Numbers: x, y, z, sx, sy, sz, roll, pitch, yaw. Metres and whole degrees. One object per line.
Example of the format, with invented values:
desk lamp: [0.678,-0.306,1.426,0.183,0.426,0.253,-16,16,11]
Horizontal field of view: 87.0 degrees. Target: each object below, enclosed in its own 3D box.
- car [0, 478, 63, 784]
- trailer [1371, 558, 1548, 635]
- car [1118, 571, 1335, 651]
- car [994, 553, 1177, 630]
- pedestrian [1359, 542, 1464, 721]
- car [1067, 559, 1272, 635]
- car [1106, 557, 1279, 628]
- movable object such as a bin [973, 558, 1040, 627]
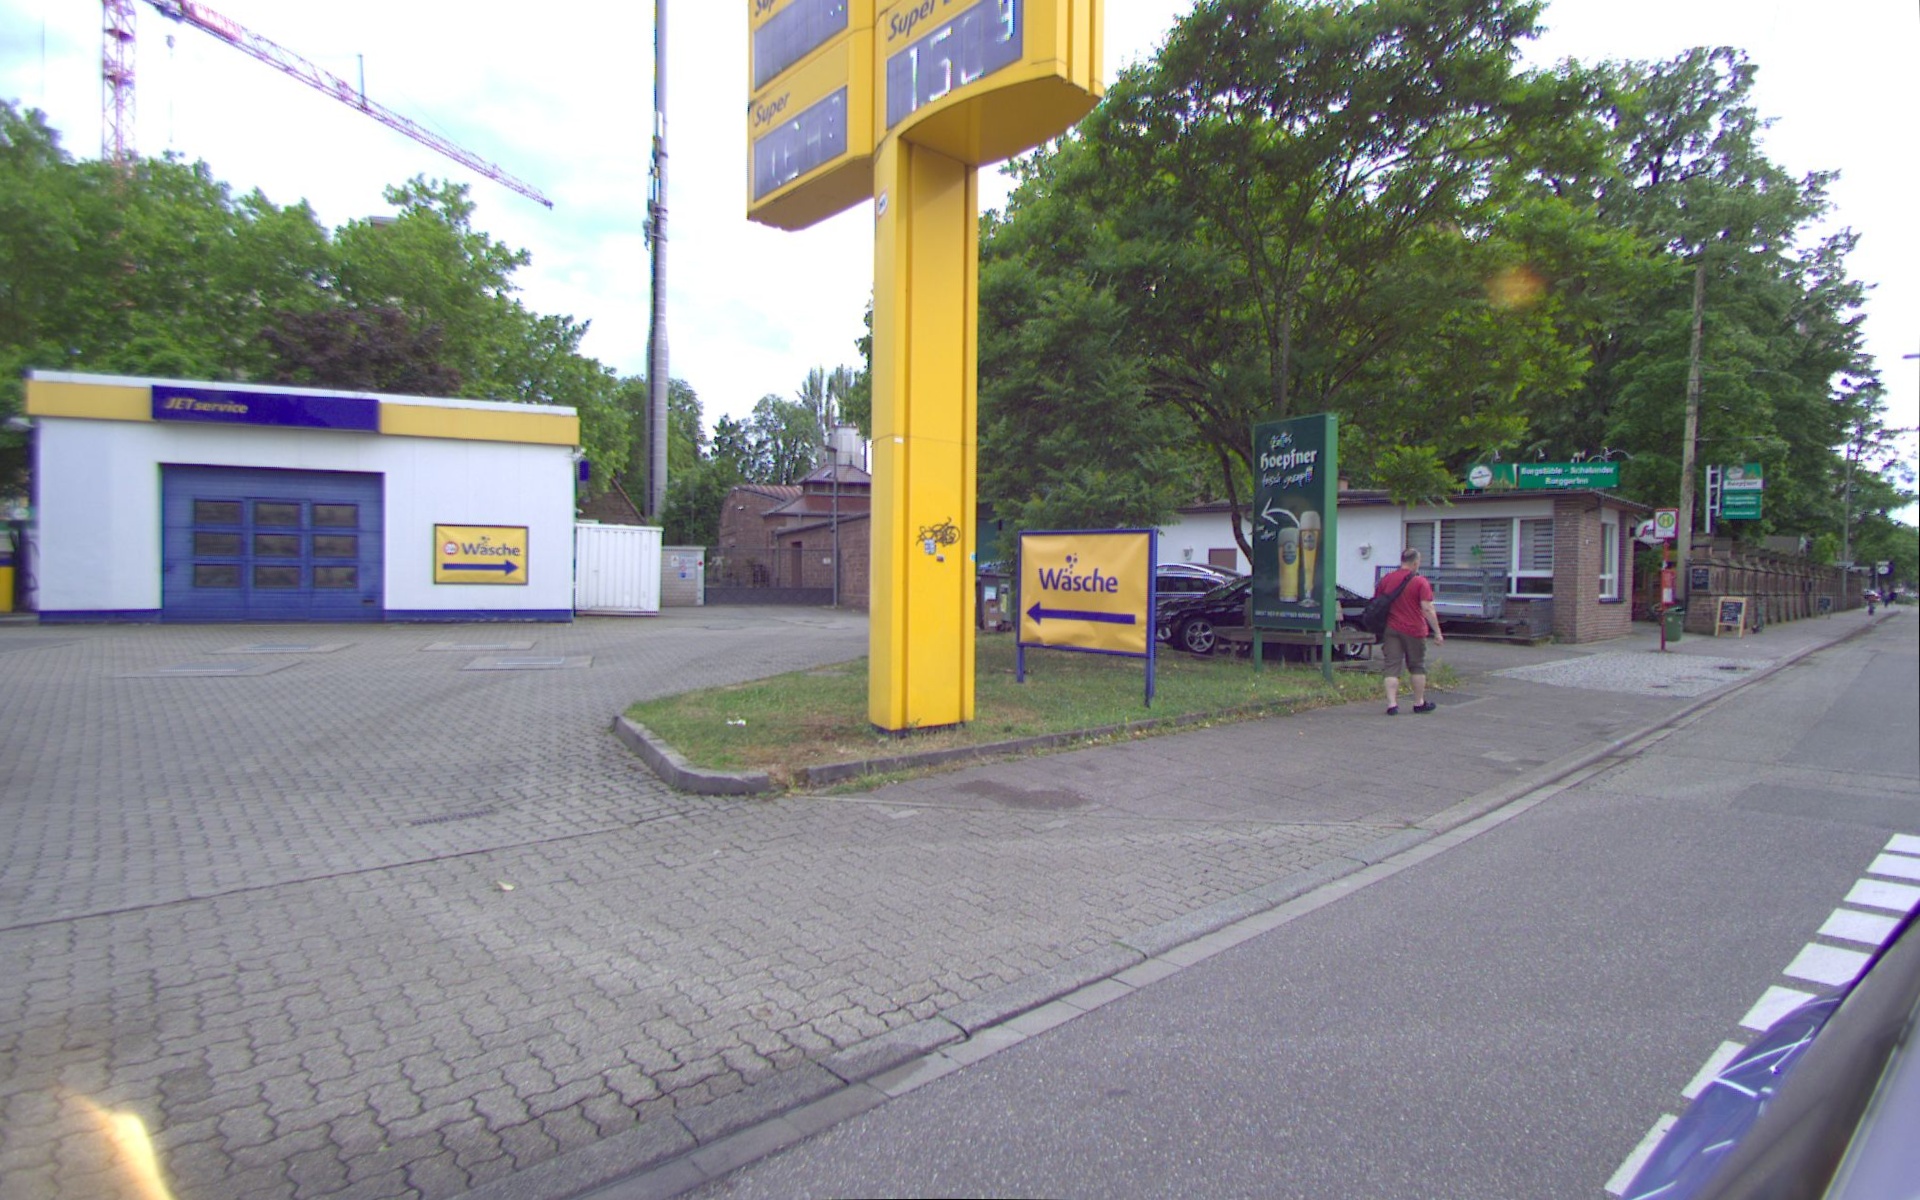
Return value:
car: [-8.103,0.075,6.735,4.492,1.865,1.966,4,3,31]
trailer: [11.580,-0.150,23.581,1.745,1.549,3.286,-4,5,-44]
car: [4.959,0.145,18.621,3.930,1.304,1.997,-1,1,-41]
car: [2.908,-0.209,23.929,3.943,1.717,1.815,0,1,-8]
pedestrian: [4.742,0.291,10.693,0.859,1.768,0.846,3,3,20]
car: [4.400,-0.074,21.610,3.921,1.536,1.828,0,1,-4]
car: [6.017,-0.209,26.474,1.967,1.688,3.990,-1,1,-44]
movable object such as a bin: [0.937,-0.160,20.698,1.136,1.376,1.123,0,0,-10]
